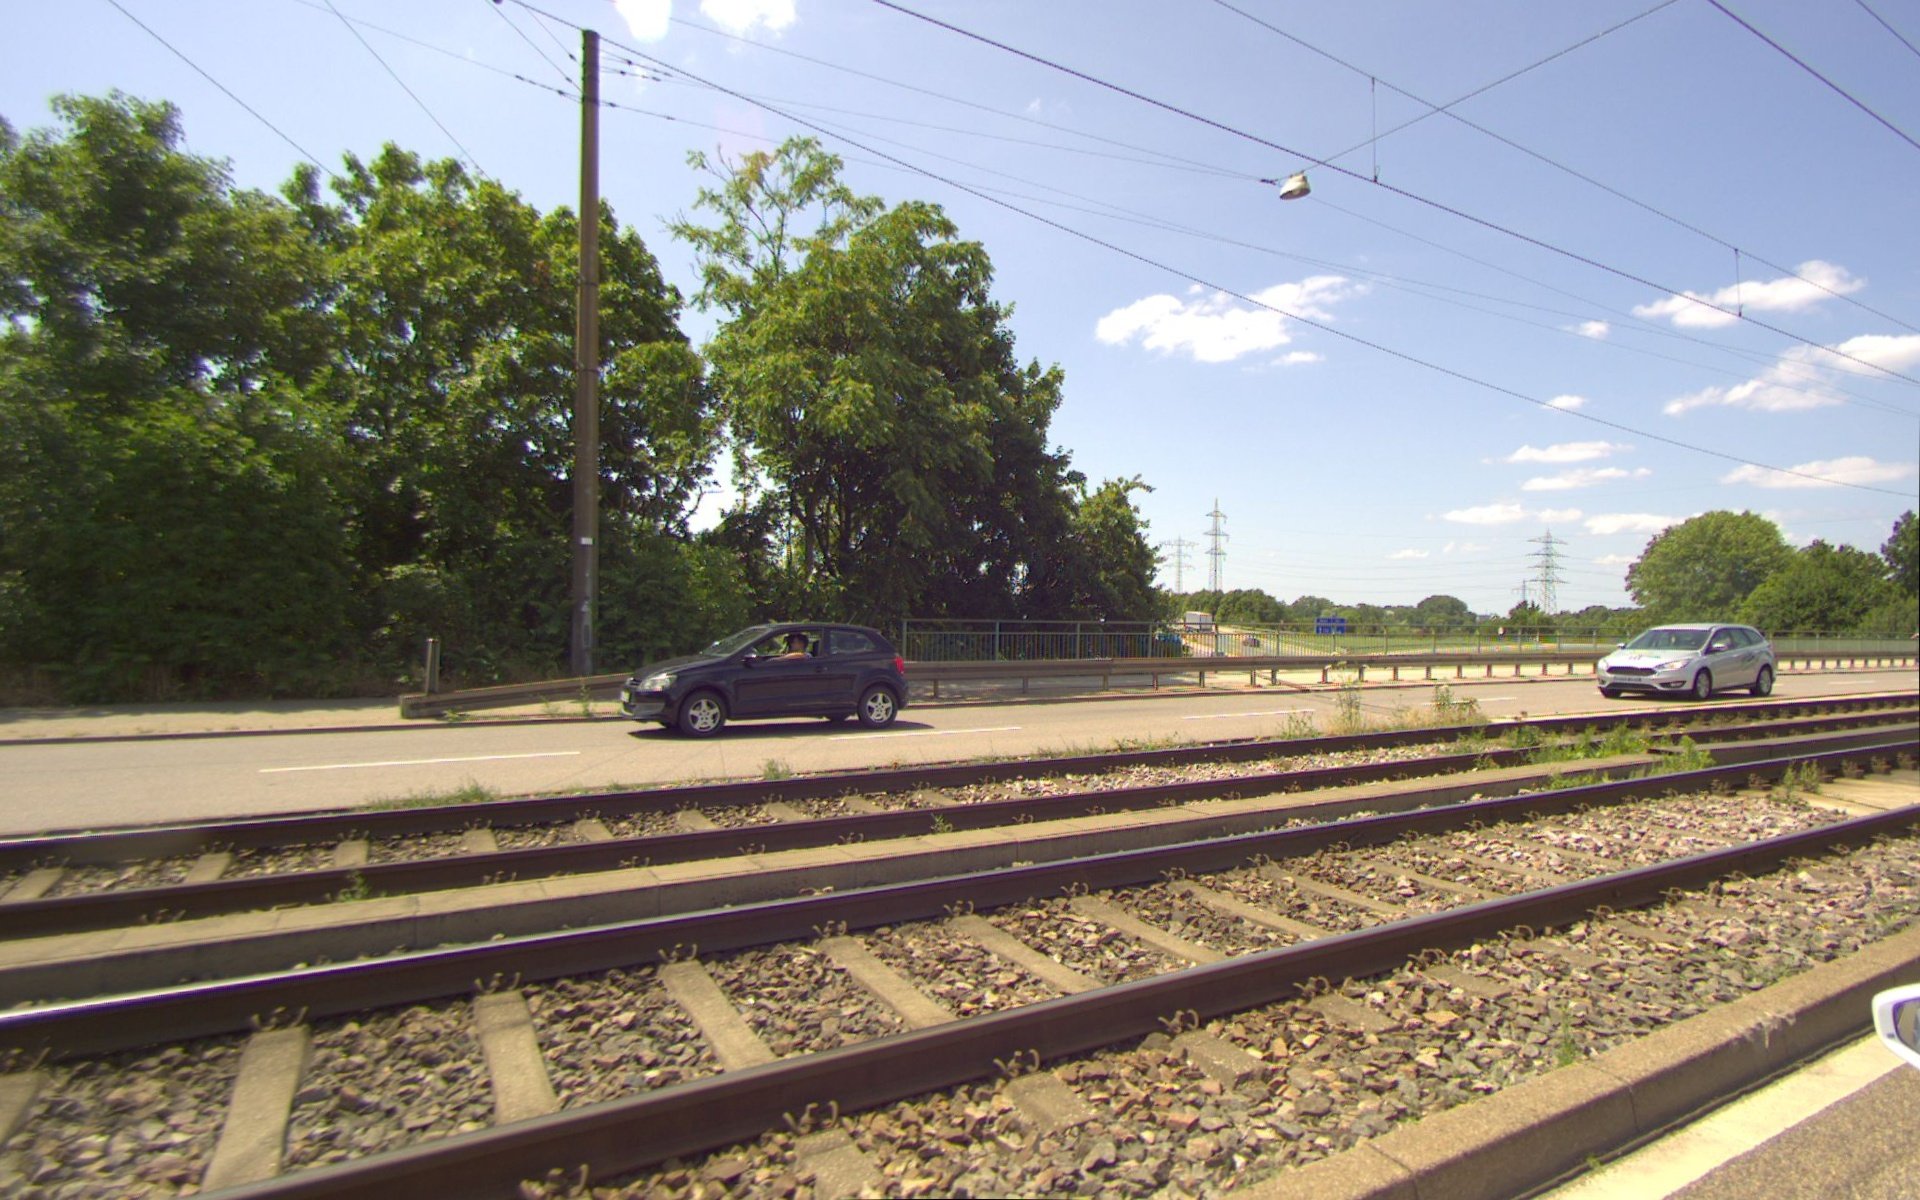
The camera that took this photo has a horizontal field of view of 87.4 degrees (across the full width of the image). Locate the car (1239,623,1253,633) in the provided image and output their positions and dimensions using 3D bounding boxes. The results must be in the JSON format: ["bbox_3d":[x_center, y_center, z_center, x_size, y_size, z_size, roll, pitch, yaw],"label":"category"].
[{"bbox_3d":[59.633,5.897,209.190,1.706,1.665,3.999,3,4,1],"label":"car"}]

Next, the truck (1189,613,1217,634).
[{"bbox_3d":[49.240,4.750,203.619,3.592,3.756,8.199,1,3,1],"label":"truck"}]

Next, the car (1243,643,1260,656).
[{"bbox_3d":[47.941,8.147,165.087,1.896,1.665,4.001,3,4,6],"label":"car"}]

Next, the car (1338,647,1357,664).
[{"bbox_3d":[58.518,8.365,151.885,1.832,2.041,4.001,4,3,11],"label":"car"}]

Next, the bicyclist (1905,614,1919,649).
[{"bbox_3d":[45.032,1.481,47.138,0.828,1.643,0.759,1,0,-30],"label":"bicyclist"}]

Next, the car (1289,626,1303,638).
[{"bbox_3d":[60.055,5.741,179.802,1.705,1.665,4.001,3,4,10],"label":"car"}]

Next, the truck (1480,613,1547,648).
[{"bbox_3d":[103.164,5.663,187.371,10.615,5.714,3.289,4,4,28],"label":"truck"}]

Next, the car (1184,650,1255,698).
[{"bbox_3d":[33.648,9.415,131.675,4.919,4.547,22.465,2,0,4],"label":"car"}]

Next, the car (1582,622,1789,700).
[{"bbox_3d":[14.743,1.200,20.357,4.569,1.439,1.703,2,-2,-30],"label":"car"}]

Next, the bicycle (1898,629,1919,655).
[{"bbox_3d":[44.929,1.973,47.105,2.038,1.201,0.852,2,0,-31],"label":"bicycle"}]

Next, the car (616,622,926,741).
[{"bbox_3d":[-2.548,1.044,13.789,3.892,1.418,1.566,2,-1,-31],"label":"car"}]
